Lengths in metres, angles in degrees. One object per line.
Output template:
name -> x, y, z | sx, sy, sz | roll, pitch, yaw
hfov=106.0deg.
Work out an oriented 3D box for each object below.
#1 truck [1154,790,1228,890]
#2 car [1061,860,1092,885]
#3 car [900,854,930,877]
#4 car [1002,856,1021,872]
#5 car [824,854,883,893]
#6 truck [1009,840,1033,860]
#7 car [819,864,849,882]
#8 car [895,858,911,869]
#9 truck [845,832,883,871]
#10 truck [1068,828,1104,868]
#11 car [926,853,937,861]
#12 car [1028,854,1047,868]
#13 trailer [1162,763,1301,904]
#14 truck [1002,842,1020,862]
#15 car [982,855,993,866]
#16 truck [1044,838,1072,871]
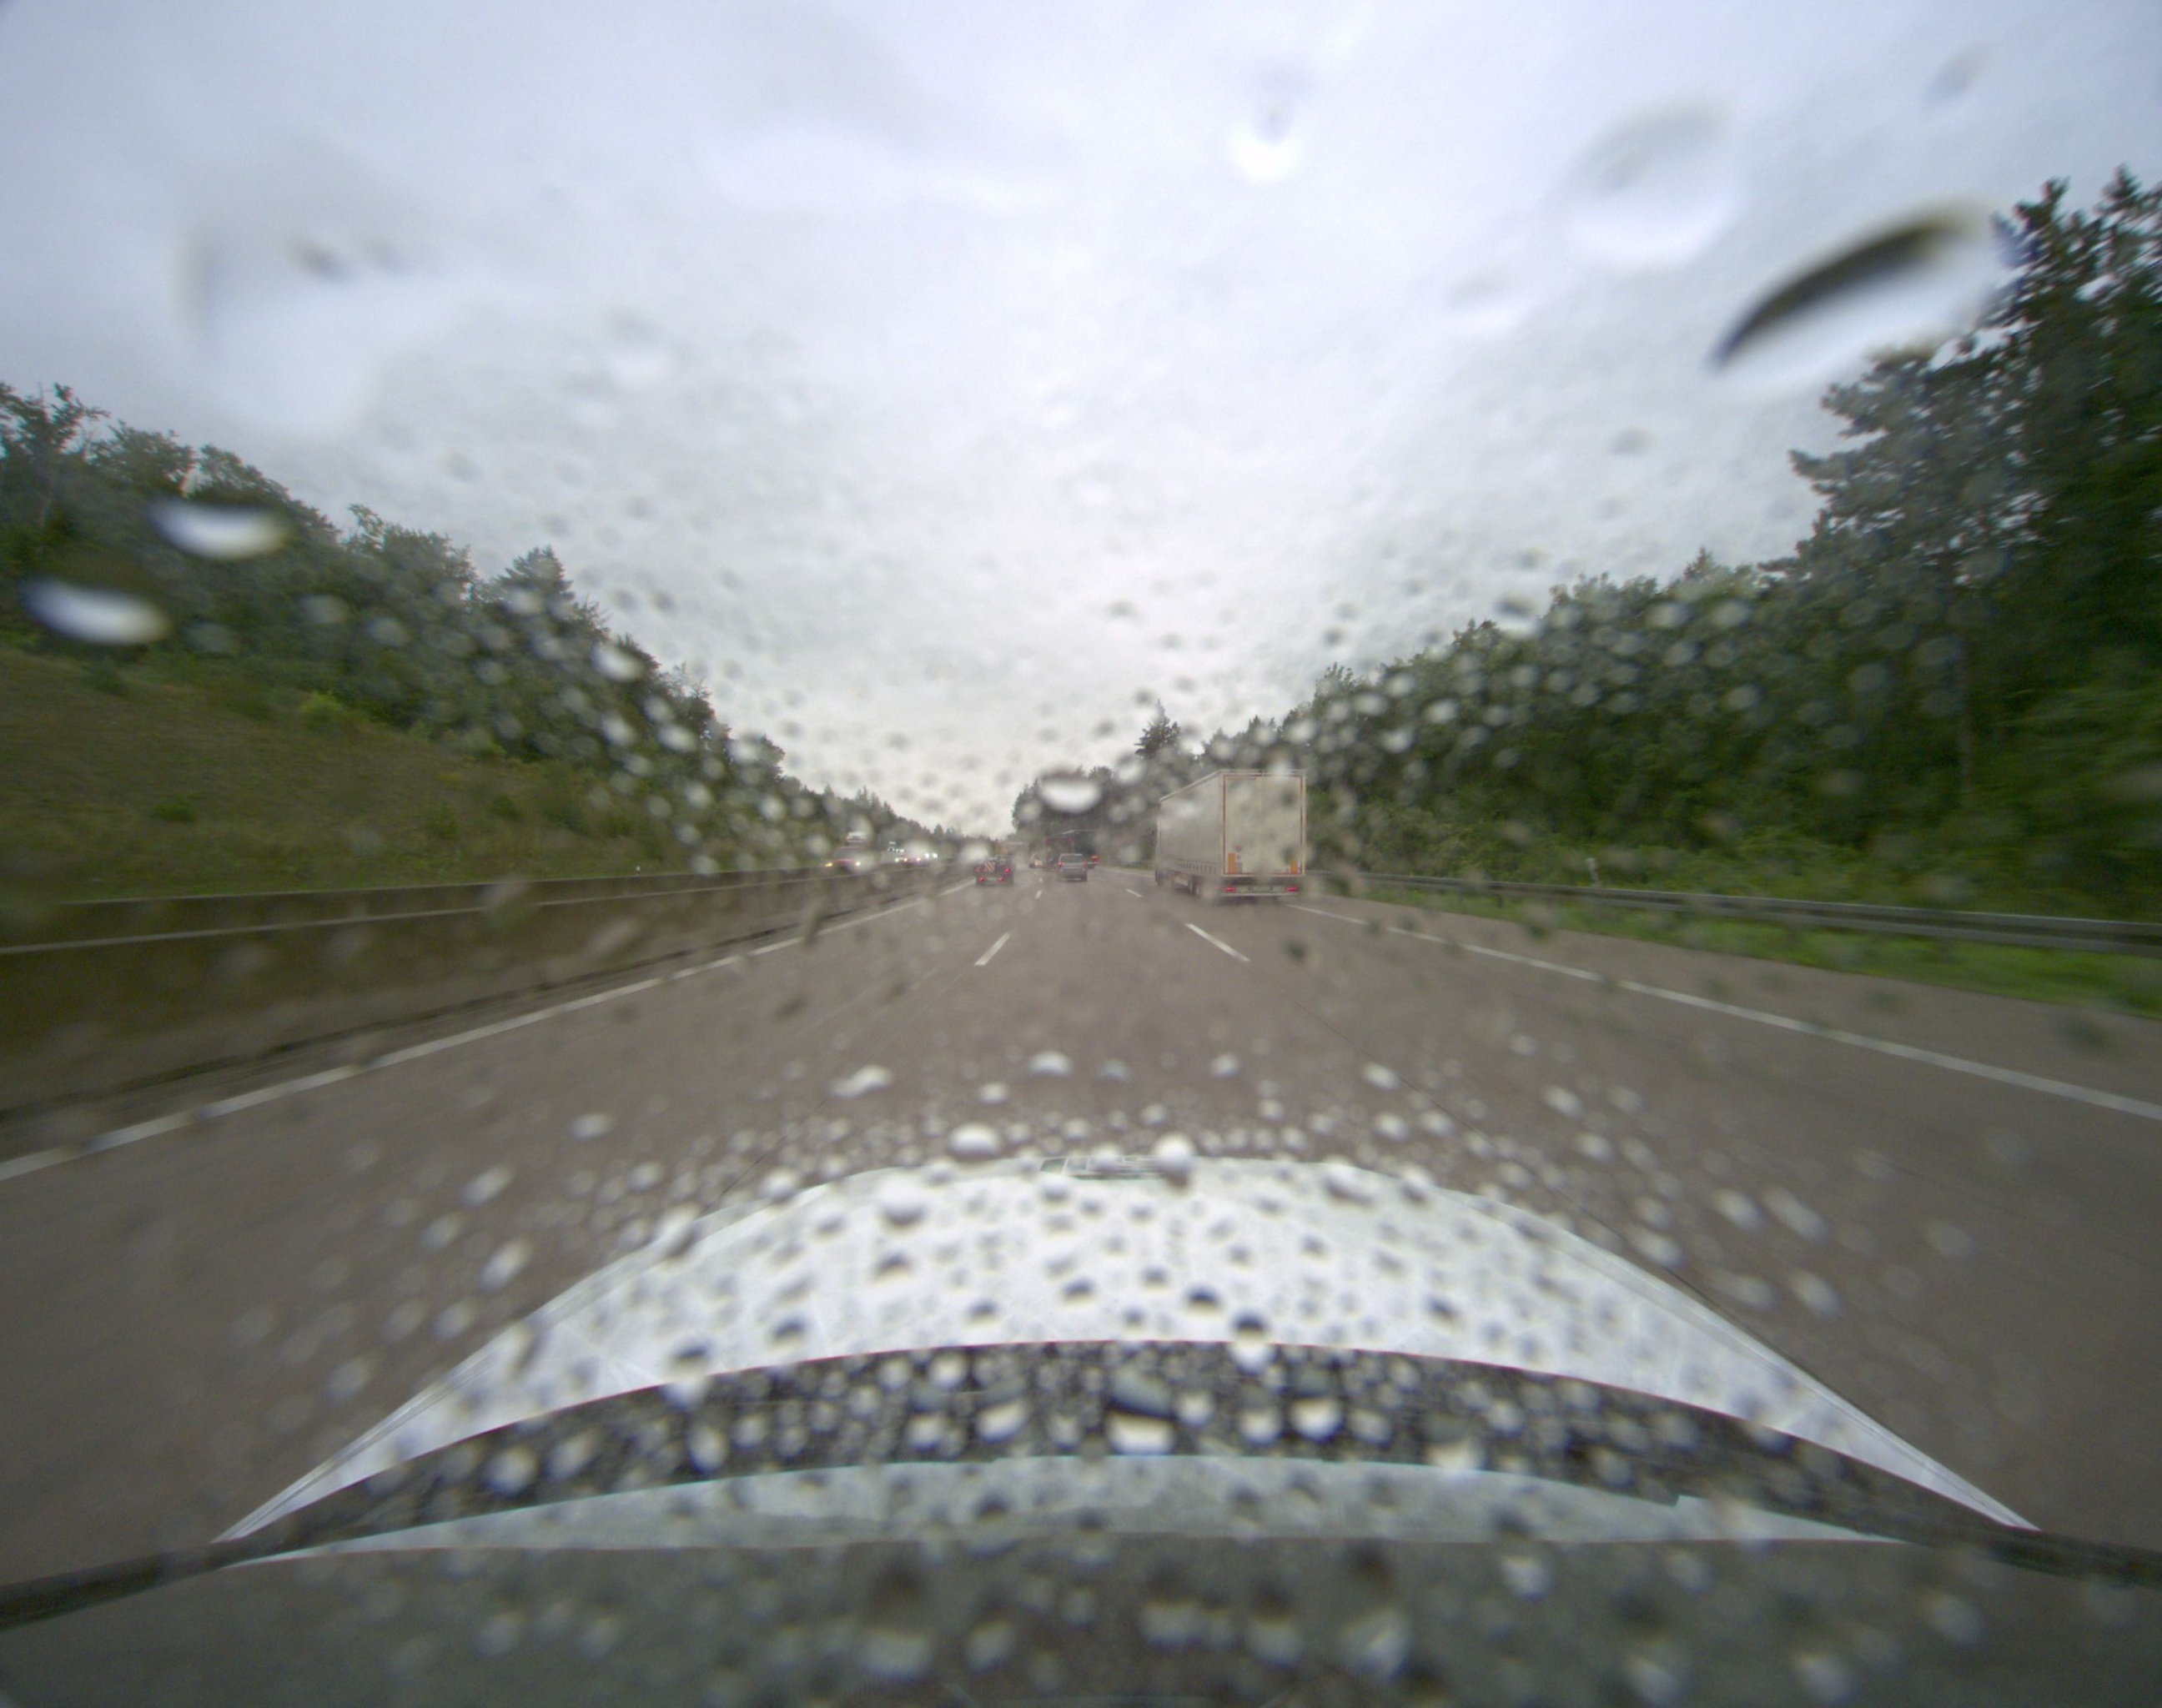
truck -> 4.760, -0.586, 36.100 | 2.413, 4.068, 4.974 | -1, 0, -2
car -> -0.242, 1.065, 47.315 | 1.547, 1.351, 3.686 | 1, 0, 3
car -> -15.937, 1.055, 78.573 | 1.989, 2.082, 5.326 | -1, 0, -3
car -> -6.621, 0.903, 78.087 | 1.680, 1.462, 3.680 | 1, 0, -3
car -> -13.099, 1.086, 47.205 | 1.988, 2.082, 5.328 | -1, 0, -2
truck -> -9.359, -0.648, 126.594 | 3.081, 2.905, 7.881 | -1, 1, -8
car -> -21.188, 1.594, 69.911 | 1.619, 1.393, 3.994 | -1, 0, -4
car -> -23.486, 1.288, 107.628 | 1.619, 1.393, 3.992 | -1, 0, -5
truck -> -25.562, -0.291, 96.376 | 2.740, 4.284, 8.301 | -1, 0, -5
truck -> 0.459, -0.628, 89.637 | 3.361, 4.131, 10.427 | -1, 0, -2
car -> -26.033, 0.506, 141.761 | 1.619, 1.393, 3.992 | -1, 0, -5
car -> -4.850, 0.738, 90.540 | 1.876, 1.473, 3.999 | 1, 0, 0
trailer -> 4.966, -0.595, 29.658 | 2.413, 4.068, 12.045 | -1, 0, -2
truck -> -15.592, -0.465, 180.545 | 3.736, 4.210, 6.801 | -1, -1, -7
car -> -16.675, 1.150, 145.784 | 1.722, 2.014, 3.651 | -1, -1, -4
truck -> -2.255, 0.010, 76.195 | 2.265, 2.886, 7.891 | -1, 1, -4
